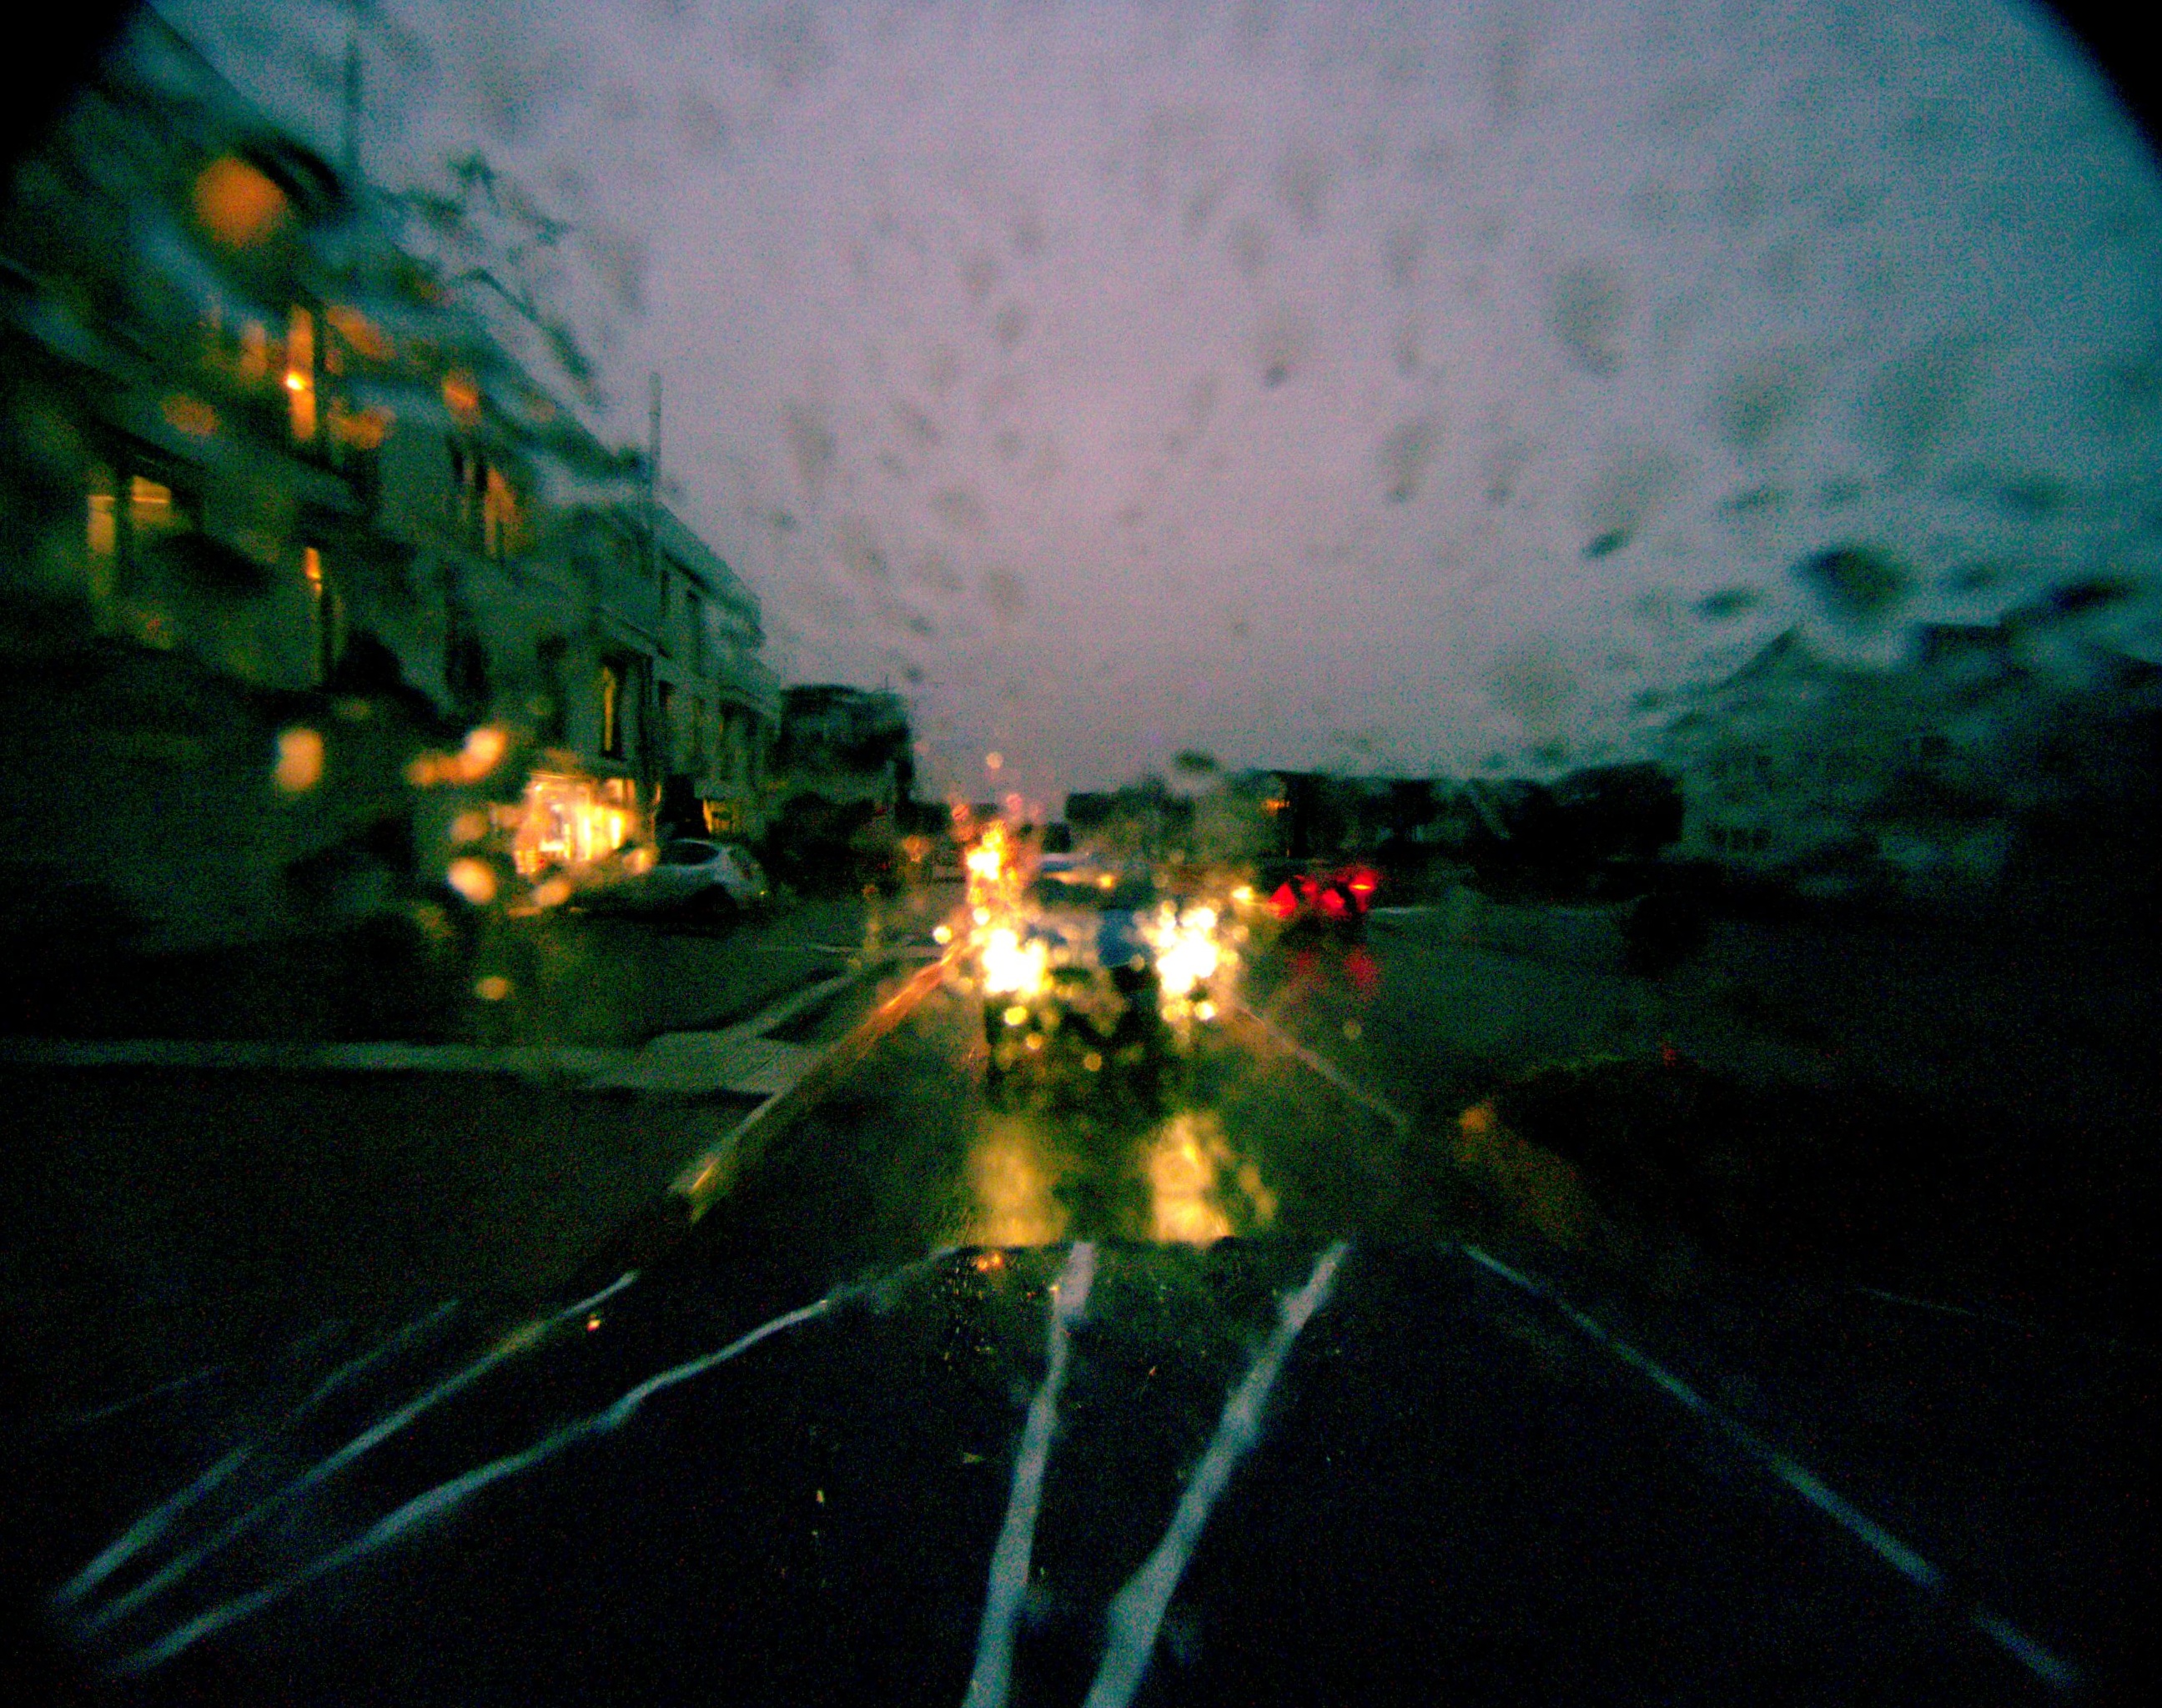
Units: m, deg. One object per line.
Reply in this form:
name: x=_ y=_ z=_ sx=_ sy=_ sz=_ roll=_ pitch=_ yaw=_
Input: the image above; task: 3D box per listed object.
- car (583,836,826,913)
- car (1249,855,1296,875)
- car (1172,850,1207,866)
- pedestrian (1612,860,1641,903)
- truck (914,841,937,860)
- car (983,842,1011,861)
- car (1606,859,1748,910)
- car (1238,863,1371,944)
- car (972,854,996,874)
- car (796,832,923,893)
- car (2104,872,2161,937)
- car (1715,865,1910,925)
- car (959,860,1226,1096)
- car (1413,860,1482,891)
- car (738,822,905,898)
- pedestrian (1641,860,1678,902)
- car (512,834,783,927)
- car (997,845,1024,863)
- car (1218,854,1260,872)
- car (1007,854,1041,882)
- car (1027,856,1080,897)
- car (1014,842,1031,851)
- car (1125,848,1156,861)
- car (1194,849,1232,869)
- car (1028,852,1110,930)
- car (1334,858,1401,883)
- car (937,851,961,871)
car: x=-8.403 y=0.434 z=17.355 sx=4.522 sy=1.484 sz=1.973 roll=2 pitch=1 yaw=-6
car: x=15.271 y=0.832 z=60.760 sx=1.801 sy=1.460 sz=4.251 roll=1 pitch=1 yaw=-15
car: x=10.822 y=0.387 z=76.116 sx=1.678 sy=1.460 sz=4.010 roll=2 pitch=-1 yaw=-20
pedestrian: x=16.640 y=0.830 z=23.187 sx=0.512 sy=1.294 sz=0.601 roll=0 pitch=1 yaw=-40
truck: x=-19.004 y=-0.430 z=92.689 sx=2.250 sy=2.218 sz=6.094 roll=-1 pitch=1 yaw=-17
car: x=-8.239 y=-0.272 z=74.243 sx=1.726 sy=1.802 sz=4.129 roll=-1 pitch=1 yaw=-19
car: x=21.699 y=1.055 z=27.876 sx=1.704 sy=1.651 sz=3.955 roll=0 pitch=1 yaw=-11
car: x=4.340 y=0.909 z=15.253 sx=1.508 sy=1.403 sz=3.365 roll=0 pitch=0 yaw=-3
car: x=-7.899 y=0.803 z=61.880 sx=1.835 sy=1.535 sz=3.712 roll=-1 pitch=1 yaw=-8
car: x=-8.058 y=0.306 z=27.989 sx=4.154 sy=1.625 sz=1.753 roll=8 pitch=-1 yaw=-11
car: x=30.560 y=1.468 z=20.556 sx=4.001 sy=1.673 sz=1.715 roll=3 pitch=2 yaw=-10
car: x=22.391 y=1.193 z=23.503 sx=1.780 sy=1.560 sz=4.090 roll=0 pitch=1 yaw=-8
car: x=-0.046 y=0.885 z=7.364 sx=1.889 sy=1.570 sz=3.998 roll=0 pitch=1 yaw=-4
car: x=19.593 y=1.137 z=40.742 sx=1.479 sy=1.500 sz=3.499 roll=1 pitch=1 yaw=-12
car: x=-8.135 y=0.176 z=24.212 sx=4.554 sy=1.923 sz=1.974 roll=5 pitch=0 yaw=-6
pedestrian: x=17.782 y=0.822 z=23.362 sx=0.693 sy=1.242 sz=0.602 roll=0 pitch=1 yaw=-7
car: x=-7.900 y=0.469 z=14.252 sx=4.002 sy=1.495 sz=1.811 roll=2 pitch=1 yaw=-12
car: x=-7.912 y=-0.030 z=85.125 sx=2.002 sy=2.002 sz=3.992 roll=-1 pitch=1 yaw=-21
car: x=13.660 y=0.727 z=65.930 sx=1.801 sy=1.460 sz=4.251 roll=1 pitch=1 yaw=-15
car: x=-3.107 y=0.737 z=41.886 sx=1.741 sy=1.434 sz=3.998 roll=-1 pitch=1 yaw=-3
car: x=-1.120 y=0.818 z=29.323 sx=1.573 sy=1.460 sz=3.613 roll=-1 pitch=0 yaw=-9
car: x=-10.298 y=-1.335 z=132.935 sx=1.802 sy=1.460 sz=4.249 roll=1 pitch=1 yaw=-21
car: x=6.837 y=0.052 z=87.546 sx=1.802 sy=1.460 sz=4.607 roll=1 pitch=1 yaw=-20
car: x=12.253 y=0.442 z=70.669 sx=1.801 sy=1.816 sz=4.250 roll=1 pitch=1 yaw=-16
car: x=-0.382 y=0.792 z=17.821 sx=1.682 sy=1.614 sz=3.998 roll=0 pitch=0 yaw=-4
car: x=18.257 y=1.039 z=48.623 sx=1.801 sy=1.460 sz=4.251 roll=1 pitch=1 yaw=-15
car: x=-10.738 y=0.532 z=62.065 sx=1.849 sy=1.577 sz=3.765 roll=1 pitch=0 yaw=-9
